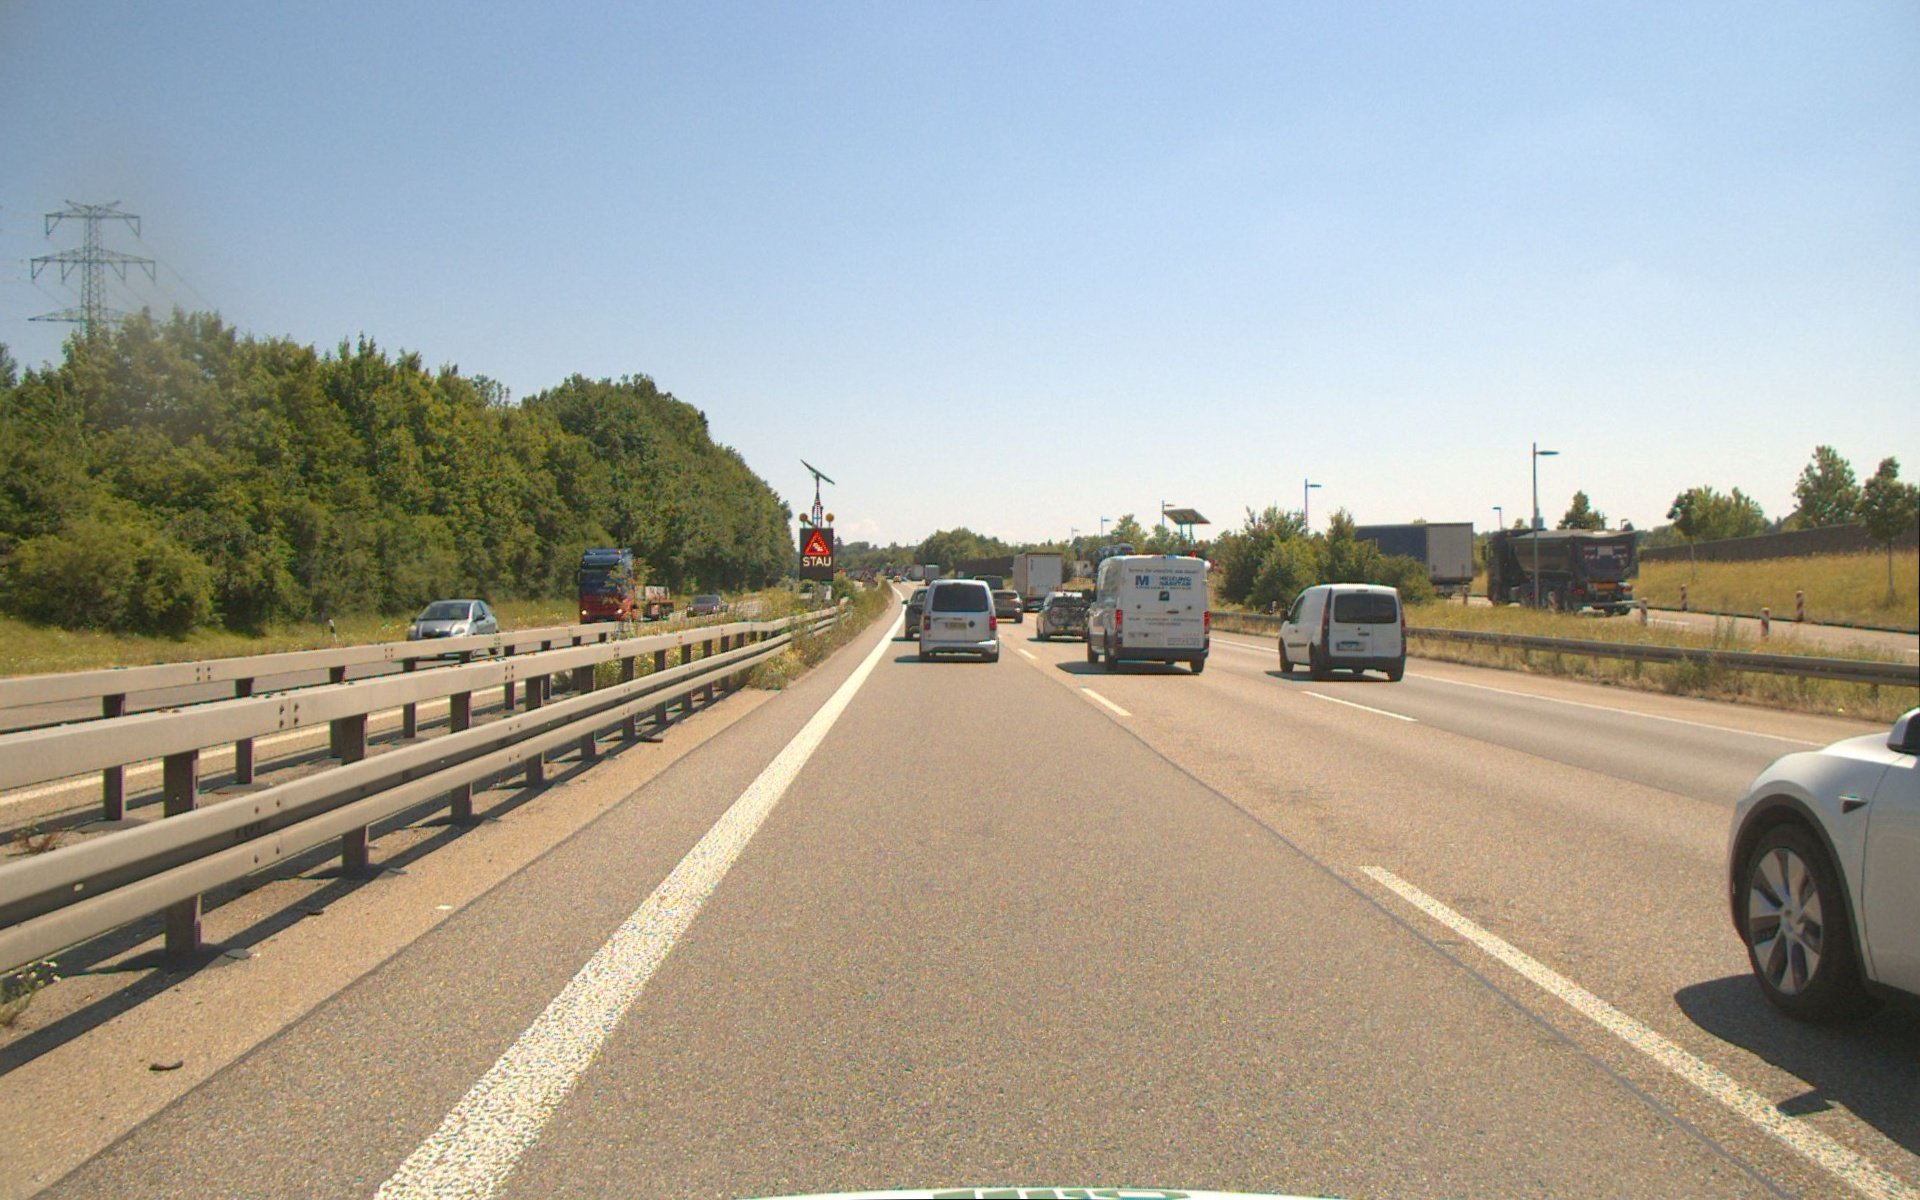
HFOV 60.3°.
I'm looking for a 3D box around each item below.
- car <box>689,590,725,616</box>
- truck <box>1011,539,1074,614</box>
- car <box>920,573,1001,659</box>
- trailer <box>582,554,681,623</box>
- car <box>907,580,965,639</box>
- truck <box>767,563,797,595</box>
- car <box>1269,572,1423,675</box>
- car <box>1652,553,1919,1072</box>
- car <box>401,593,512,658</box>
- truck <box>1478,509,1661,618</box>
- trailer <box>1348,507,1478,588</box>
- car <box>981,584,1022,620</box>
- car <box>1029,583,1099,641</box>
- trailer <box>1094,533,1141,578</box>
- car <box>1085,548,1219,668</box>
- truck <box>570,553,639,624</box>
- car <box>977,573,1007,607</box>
[{"bbox_3d":[-14.377,0.161,94.157,1.735,1.357,4.916,-2,1,-5],"label":"car"},{"bbox_3d":[5.851,-1.633,119.569,3.711,5.087,12.517,1,0,0],"label":"truck"},{"bbox_3d":[0.004,0.332,37.368,1.709,1.795,4.088,-1,0,0],"label":"car"},{"bbox_3d":[-18.761,-0.683,95.778,2.935,3.620,16.019,-1,0,-2],"label":"trailer"},{"bbox_3d":[-0.715,0.270,51.790,1.709,1.731,4.088,-1,0,0],"label":"car"},{"bbox_3d":[-22.441,-2.607,209.190,2.935,3.868,10.786,-1,0,-2],"label":"truck"},{"bbox_3d":[7.546,0.423,32.737,1.911,1.870,4.176,-1,0,-2],"label":"car"},{"bbox_3d":[4.055,0.686,4.493,1.911,1.665,5.599,0,0,-1],"label":"car"},{"bbox_3d":[-13.222,0.631,43.663,1.746,1.557,3.882,-3,0,-2],"label":"car"},{"bbox_3d":[25.554,-1.422,70.310,3.709,4.154,12.523,1,0,3],"label":"truck"},{"bbox_3d":[25.459,-2.835,94.036,2.991,4.154,14.253,1,0,-2],"label":"trailer"},{"bbox_3d":[2.014,0.091,80.913,1.863,1.701,4.088,-1,0,0],"label":"car"},{"bbox_3d":[3.293,0.354,52.977,1.935,1.763,4.088,-1,0,0],"label":"car"},{"bbox_3d":[16.743,-4.627,177.006,2.553,4.332,18.414,1,0,-2],"label":"trailer"},{"bbox_3d":[3.915,0.148,34.672,2.137,2.293,5.363,1,0,0],"label":"car"},{"bbox_3d":[-18.502,-0.609,86.211,2.935,3.621,3.117,-1,0,-2],"label":"truck"},{"bbox_3d":[1.887,-0.601,98.514,1.640,1.925,4.088,-1,0,0],"label":"car"}]
